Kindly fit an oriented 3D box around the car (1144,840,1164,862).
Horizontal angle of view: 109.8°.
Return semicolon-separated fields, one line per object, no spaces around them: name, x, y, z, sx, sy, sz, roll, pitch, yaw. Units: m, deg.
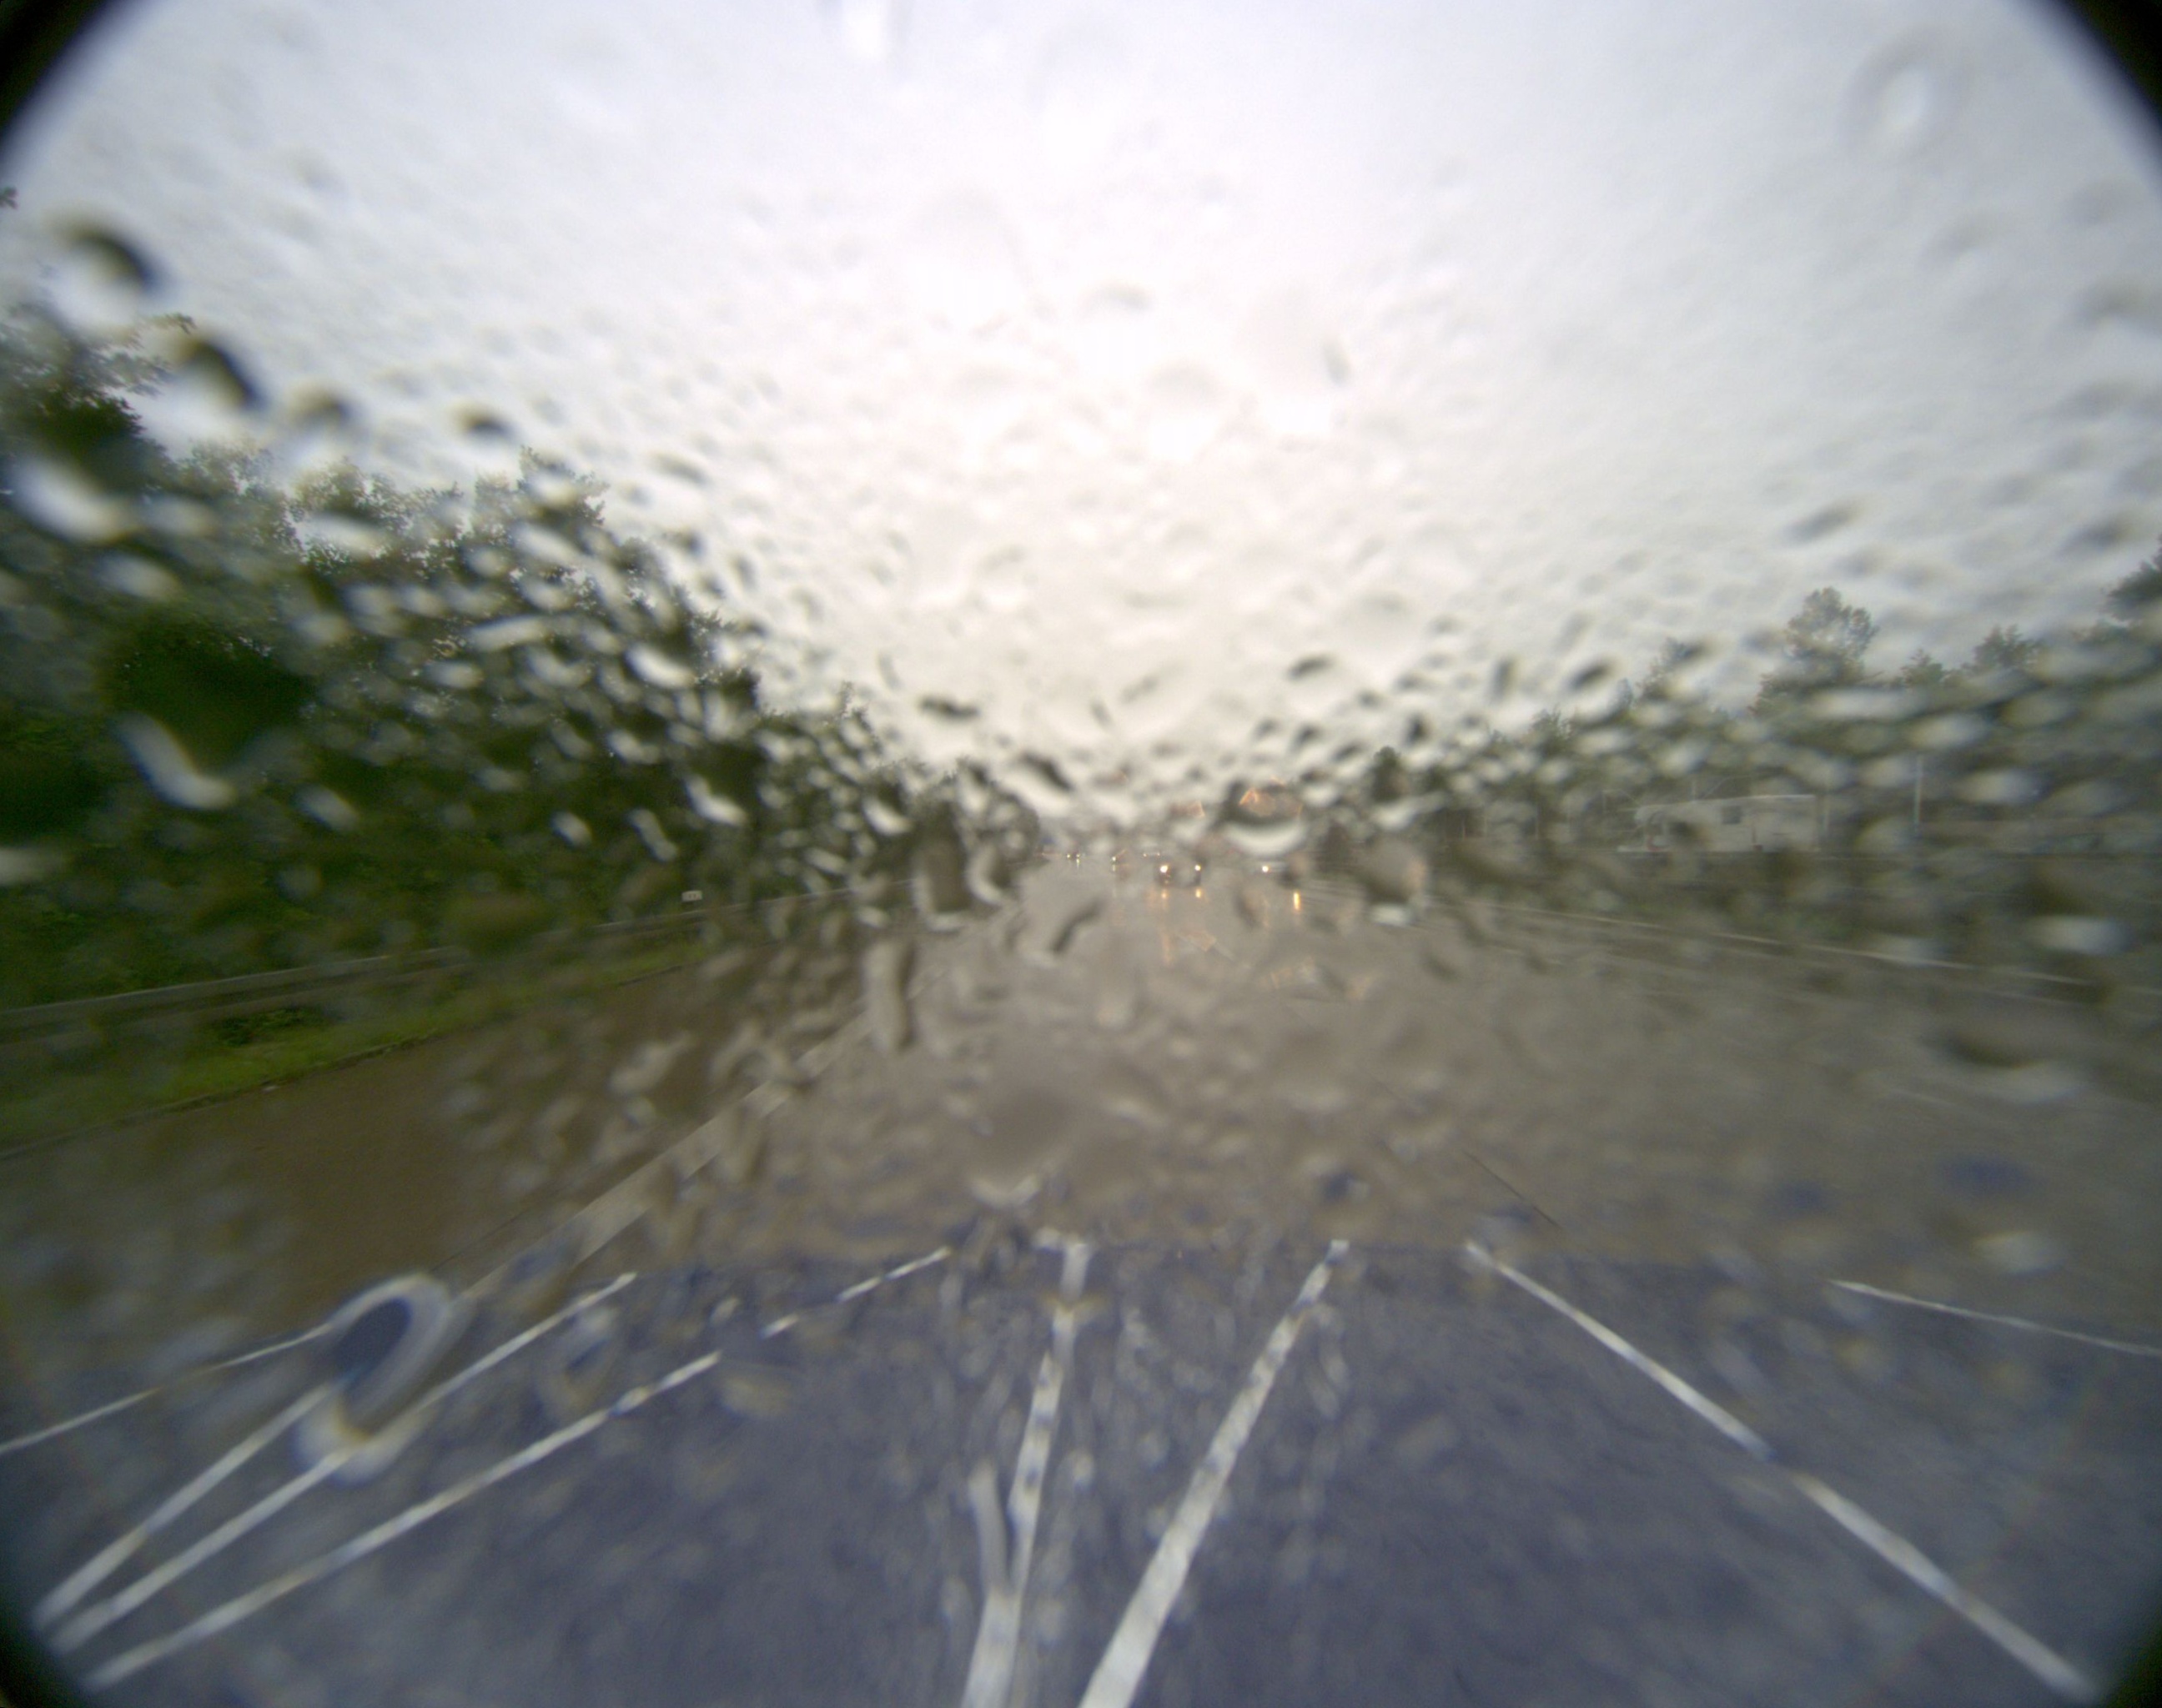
car;9.321;-0.403;97.613;2.045;2.616;6.403;0;1;0

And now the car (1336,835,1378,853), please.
car;22.085;-0.804;60.967;1.757;1.296;4.343;-4;0;0

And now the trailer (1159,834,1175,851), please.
trailer;22.158;-2.996;195.982;2.855;4.130;8.524;-4;0;0

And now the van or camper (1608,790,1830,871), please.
van or camper;24.581;-0.852;29.918;2.562;2.702;7.498;-2;1;1

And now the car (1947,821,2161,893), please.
car;21.402;0.027;15.817;1.757;1.296;4.343;-4;0;0

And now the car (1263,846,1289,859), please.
car;22.314;-0.189;86.944;1.757;1.296;4.343;-4;0;0

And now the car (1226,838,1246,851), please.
car;21.971;-1.311;107.606;1.998;1.674;4.000;-2;1;1

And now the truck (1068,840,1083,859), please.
truck;-1.161;-0.979;173.087;3.058;3.994;10.045;-1;-2;2

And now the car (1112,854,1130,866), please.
car;4.776;0.699;91.408;1.934;1.426;4.518;0;1;1

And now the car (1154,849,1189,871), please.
car;6.293;0.376;53.209;1.934;1.426;4.517;0;1;0

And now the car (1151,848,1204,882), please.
car;4.324;0.455;34.618;1.934;1.426;4.518;0;1;1

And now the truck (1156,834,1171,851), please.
truck;22.222;-3.085;205.341;2.855;4.130;10.177;-4;0;0

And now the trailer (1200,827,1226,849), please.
trailer;25.293;-2.968;146.476;2.774;3.779;13.777;-4;0;1

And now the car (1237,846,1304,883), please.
car;7.928;0.382;32.138;1.671;1.426;4.349;-1;0;-1
